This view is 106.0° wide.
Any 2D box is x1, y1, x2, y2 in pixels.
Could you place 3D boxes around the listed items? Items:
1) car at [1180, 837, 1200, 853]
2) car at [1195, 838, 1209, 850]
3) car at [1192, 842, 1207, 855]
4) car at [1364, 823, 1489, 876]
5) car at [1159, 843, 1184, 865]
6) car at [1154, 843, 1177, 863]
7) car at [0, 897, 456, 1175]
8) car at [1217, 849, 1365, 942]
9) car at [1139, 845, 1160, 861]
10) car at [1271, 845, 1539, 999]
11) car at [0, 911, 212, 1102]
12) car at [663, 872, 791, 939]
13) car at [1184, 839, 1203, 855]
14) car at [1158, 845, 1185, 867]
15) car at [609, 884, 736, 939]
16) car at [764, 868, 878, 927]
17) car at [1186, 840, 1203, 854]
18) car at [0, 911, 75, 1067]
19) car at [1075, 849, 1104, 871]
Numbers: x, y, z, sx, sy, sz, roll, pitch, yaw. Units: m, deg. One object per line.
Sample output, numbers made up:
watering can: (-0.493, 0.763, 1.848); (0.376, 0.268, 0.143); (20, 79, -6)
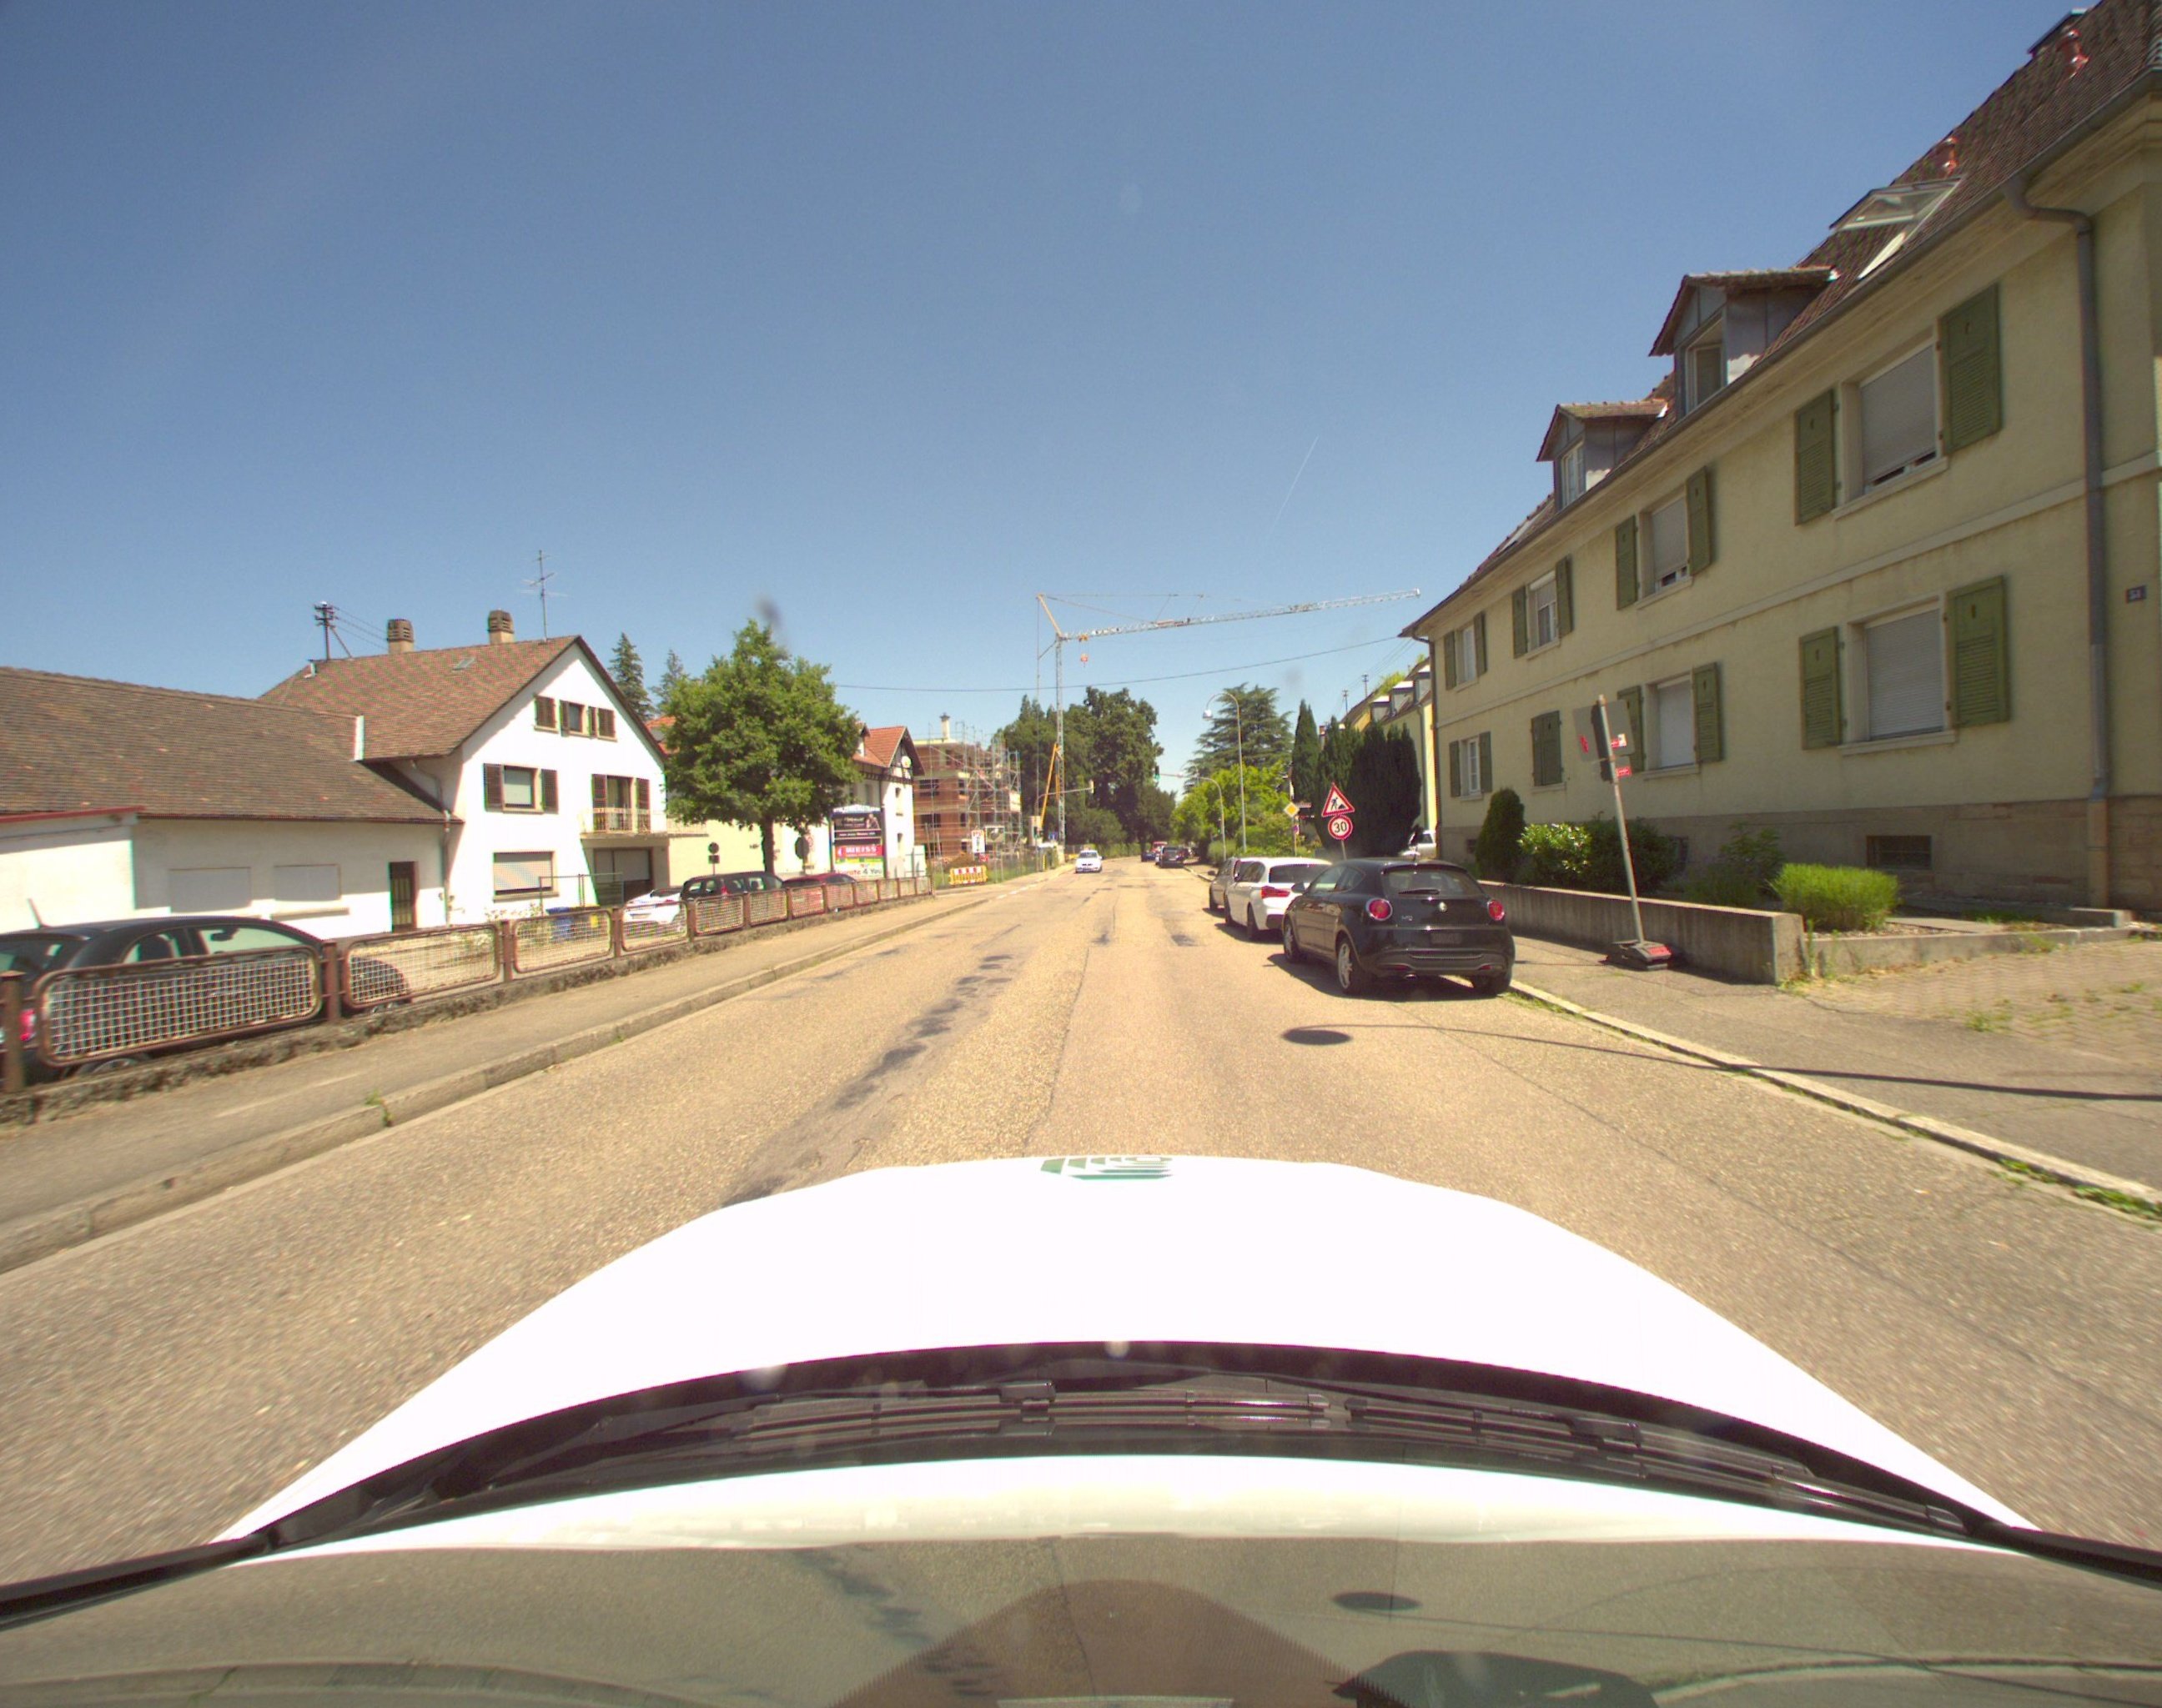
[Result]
car: (12.249, -0.969, 91.433); (1.982, 1.662, 4.010); (-3, 0, 9)
car: (18.390, -1.463, 123.505); (1.982, 1.662, 4.010); (-3, 0, 9)
car: (16.412, -0.804, 112.938); (1.982, 1.662, 4.010); (-3, 0, 9)
car: (13.457, -0.178, 31.913); (3.969, 1.640, 2.002); (-5, 0, 4)
car: (7.617, 0.014, 68.669); (1.983, 1.662, 4.007); (-3, 0, 6)
car: (7.706, -0.076, 74.348); (1.983, 1.662, 4.007); (-3, 0, 6)
car: (-7.726, 1.313, 7.032); (1.769, 1.596, 3.536); (-3, 0, 1)
car: (3.737, 0.658, 15.180); (1.755, 1.451, 3.890); (-2, 0, 1)
car: (7.547, -0.157, 89.239); (1.946, 1.468, 4.012); (-2, 2, 10)
car: (3.646, 0.662, 9.952); (1.755, 1.451, 3.840); (-2, 0, 1)
car: (-10.595, 1.483, 7.307); (1.654, 1.596, 3.536); (-3, 0, 1)
car: (-9.928, 1.404, 23.131); (1.651, 1.576, 3.542); (-3, 0, 8)
car: (13.345, -0.830, 96.389); (1.982, 1.662, 4.010); (-3, 0, 9)
car: (7.124, 0.156, 64.281); (1.983, 1.574, 4.007); (-3, 0, 6)
car: (-12.222, 1.683, 24.620); (1.651, 1.333, 3.542); (-3, 0, 8)
car: (-7.290, 1.178, 23.219); (1.651, 1.389, 3.542); (-3, 0, 8)
car: (14.178, -0.874, 101.285); (1.982, 1.662, 4.010); (-3, 0, 9)
car: (-12.861, 1.567, 7.909); (1.654, 1.689, 3.536); (-3, 0, 1)
car: (0.652, 0.416, 58.972); (1.752, 1.451, 3.845); (-2, 0, 6)
